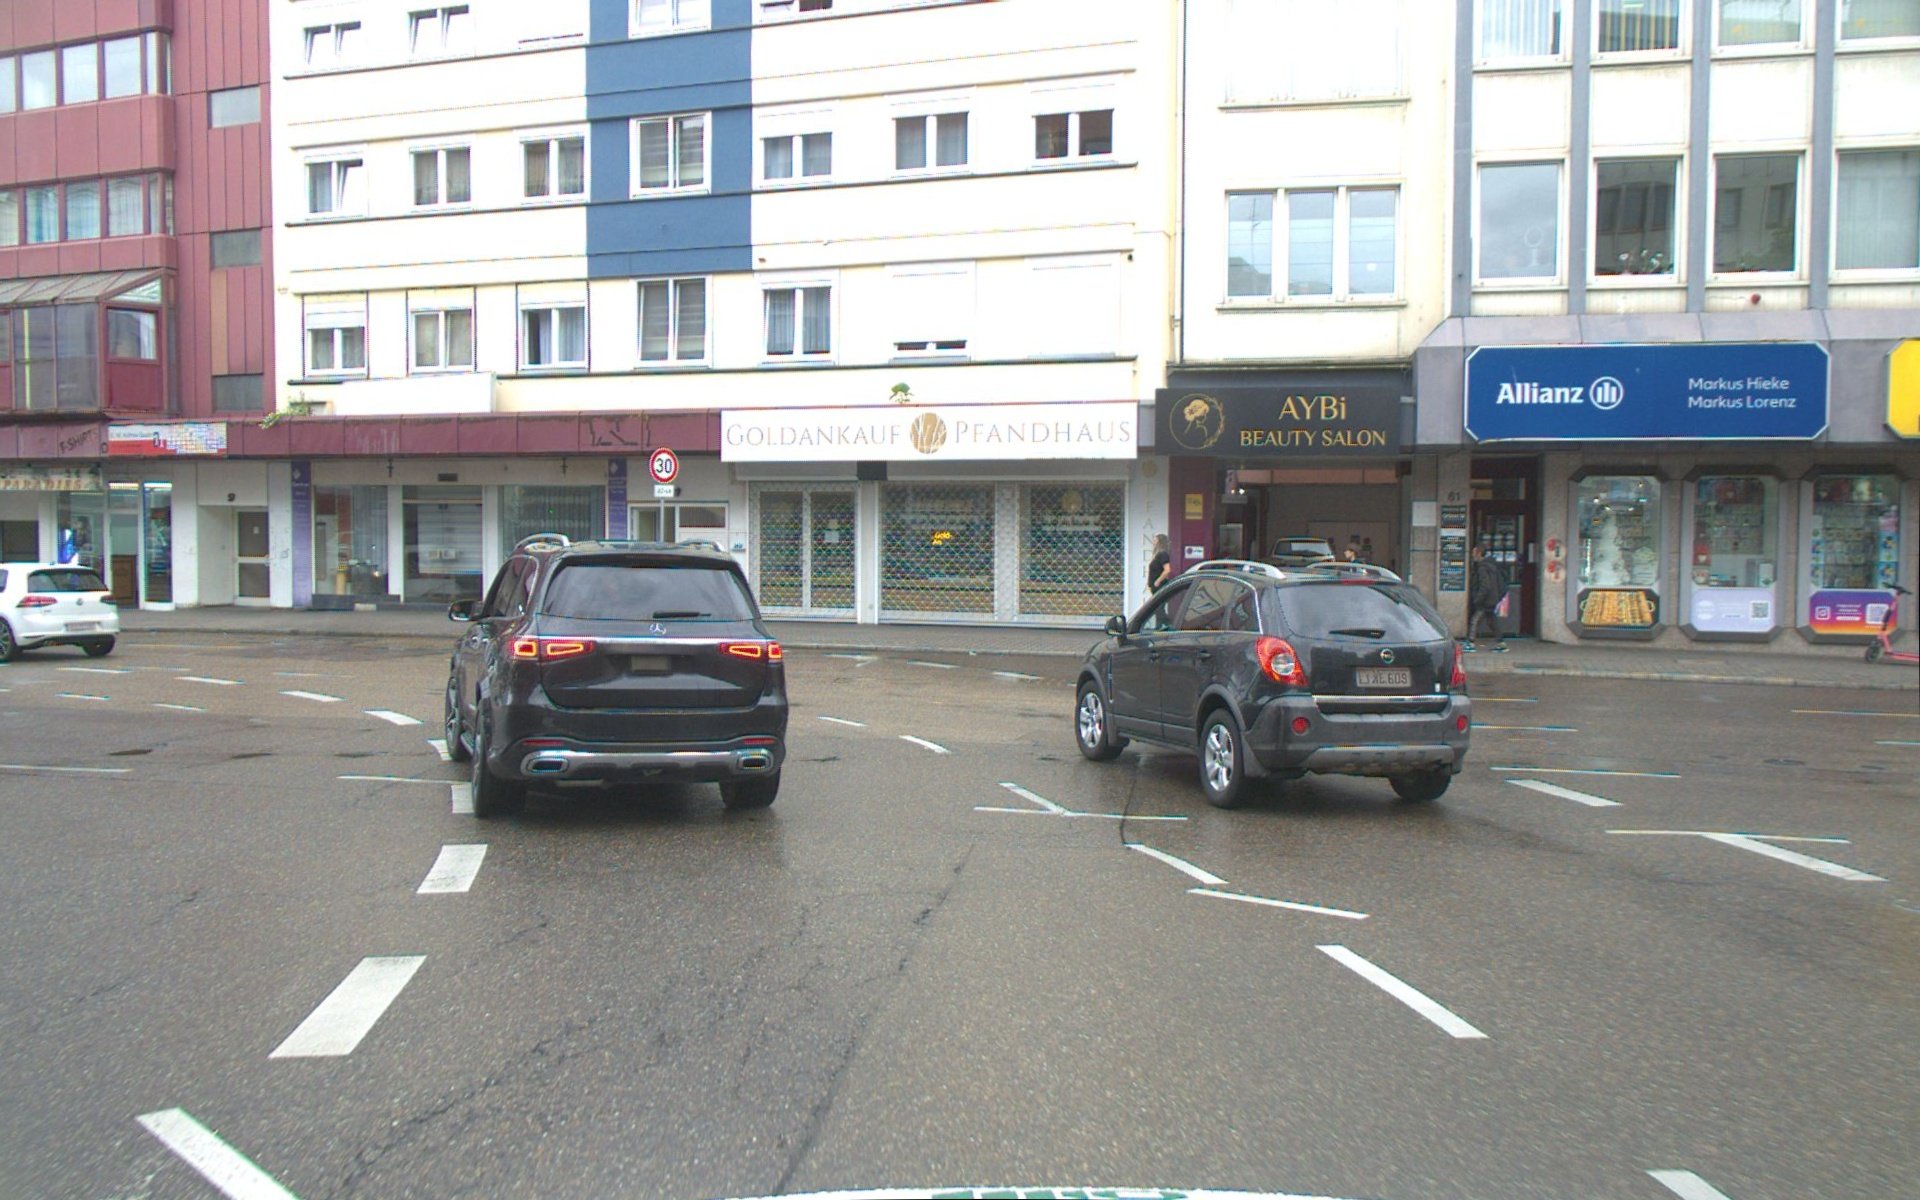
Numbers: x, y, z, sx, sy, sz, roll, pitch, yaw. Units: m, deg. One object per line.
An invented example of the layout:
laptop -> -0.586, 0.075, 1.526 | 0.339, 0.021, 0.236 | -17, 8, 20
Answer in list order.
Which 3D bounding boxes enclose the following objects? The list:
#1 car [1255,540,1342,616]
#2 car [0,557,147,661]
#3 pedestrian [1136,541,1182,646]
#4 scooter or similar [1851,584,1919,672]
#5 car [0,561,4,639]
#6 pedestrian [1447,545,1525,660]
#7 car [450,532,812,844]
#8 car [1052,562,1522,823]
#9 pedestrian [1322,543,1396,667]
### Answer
car -> 7.952, -0.487, 39.132 | 1.759, 1.699, 4.003 | 0, -1, 8
car -> -15.146, 0.087, 26.219 | 4.302, 1.521, 1.877 | 2, 1, 28
pedestrian -> 3.359, -0.117, 27.932 | 0.737, 1.718, 0.566 | 1, 5, 7
scooter or similar -> 14.415, 0.436, 25.001 | 1.481, 1.231, 0.621 | 3, 5, 16
car -> -21.397, -0.029, 32.797 | 4.389, 1.687, 1.829 | 2, -2, 21
pedestrian -> 8.297, 0.026, 26.149 | 1.008, 1.718, 0.831 | 1, 5, 8
car -> -2.640, 0.458, 12.251 | 2.008, 1.830, 4.637 | 0, 1, -19
car -> 2.376, 0.608, 13.374 | 1.867, 1.724, 4.485 | 1, 0, -16
pedestrian -> 6.139, 0.060, 25.503 | 1.008, 1.830, 0.831 | 1, 5, 8
